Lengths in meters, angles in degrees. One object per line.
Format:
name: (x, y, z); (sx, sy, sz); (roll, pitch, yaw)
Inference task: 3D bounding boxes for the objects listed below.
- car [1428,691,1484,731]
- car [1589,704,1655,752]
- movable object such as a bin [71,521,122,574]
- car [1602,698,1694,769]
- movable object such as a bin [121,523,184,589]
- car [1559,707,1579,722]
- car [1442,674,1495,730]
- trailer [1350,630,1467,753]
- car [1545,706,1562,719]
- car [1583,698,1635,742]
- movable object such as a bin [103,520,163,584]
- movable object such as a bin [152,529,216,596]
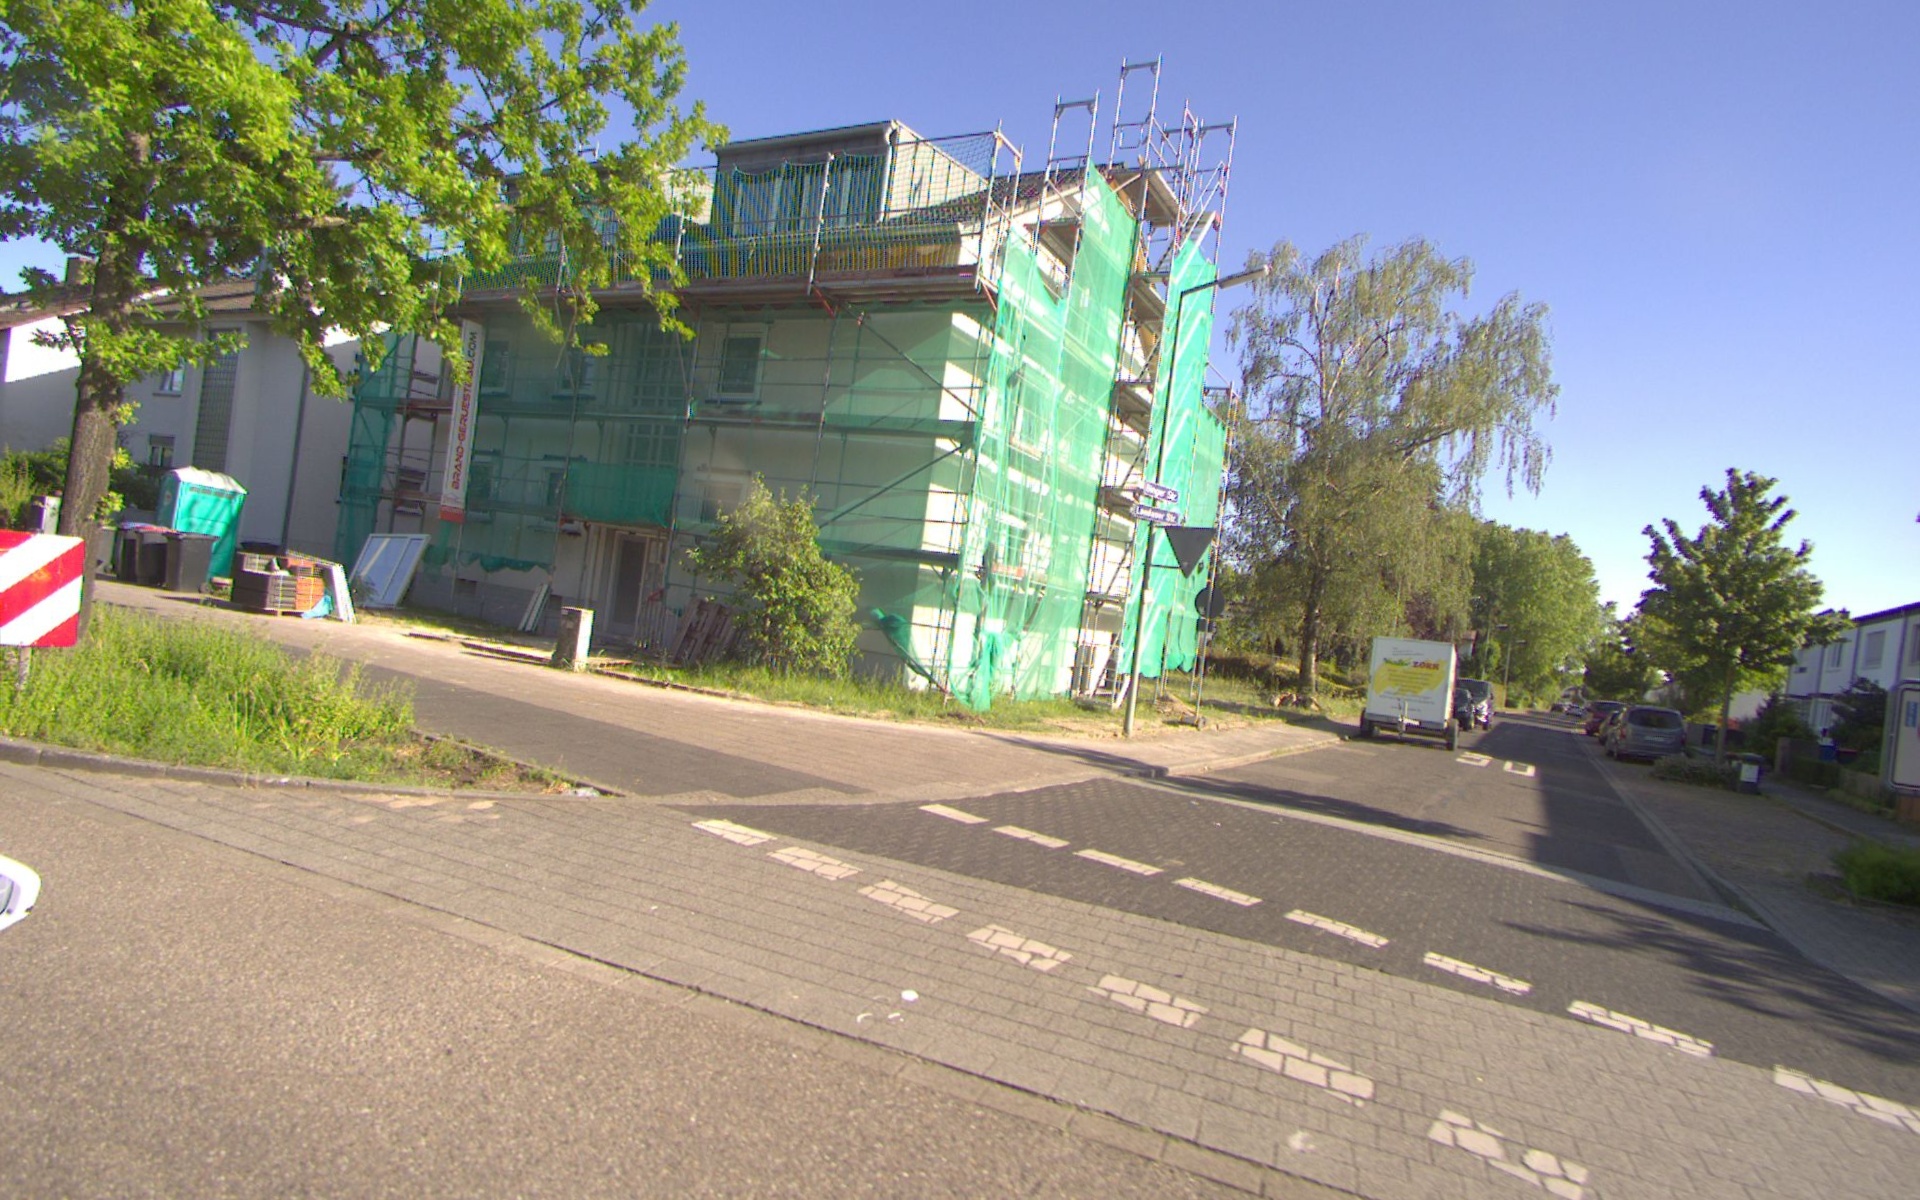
car: (18.910, 4.228, 38.283); (1.581, 1.208, 3.242); (9, -2, 30)
car: (27.969, 5.391, 42.593); (1.856, 1.605, 3.921); (9, -2, 30)
movable object such as a bin: (-16.992, -1.028, 19.806); (0.540, 0.943, 0.530); (7, 0, 29)
car: (21.883, 4.244, 32.127); (1.856, 1.796, 3.921); (9, -2, 30)
movable object such as a bin: (-14.656, -0.788, 18.255); (0.635, 1.082, 0.605); (7, 0, 29)
car: (78.641, 14.754, 129.846); (1.856, 1.626, 3.921); (9, -2, 30)
car: (20.868, 4.199, 41.228); (1.581, 1.925, 3.152); (9, -2, 30)
trailer: (11.460, 2.287, 25.495); (2.050, 2.563, 4.965); (7, -1, 29)
car: (91.399, 17.318, 154.926); (1.856, 1.626, 3.921); (9, -2, 30)
car: (34.447, 6.376, 53.508); (1.856, 1.903, 3.921); (9, -2, 30)
movable object such as a bin: (-15.427, -0.888, 18.767); (0.557, 1.082, 0.605); (7, 0, 29)
movable object such as a bin: (-13.770, -0.663, 17.862); (0.635, 1.082, 0.605); (7, 0, 29)
